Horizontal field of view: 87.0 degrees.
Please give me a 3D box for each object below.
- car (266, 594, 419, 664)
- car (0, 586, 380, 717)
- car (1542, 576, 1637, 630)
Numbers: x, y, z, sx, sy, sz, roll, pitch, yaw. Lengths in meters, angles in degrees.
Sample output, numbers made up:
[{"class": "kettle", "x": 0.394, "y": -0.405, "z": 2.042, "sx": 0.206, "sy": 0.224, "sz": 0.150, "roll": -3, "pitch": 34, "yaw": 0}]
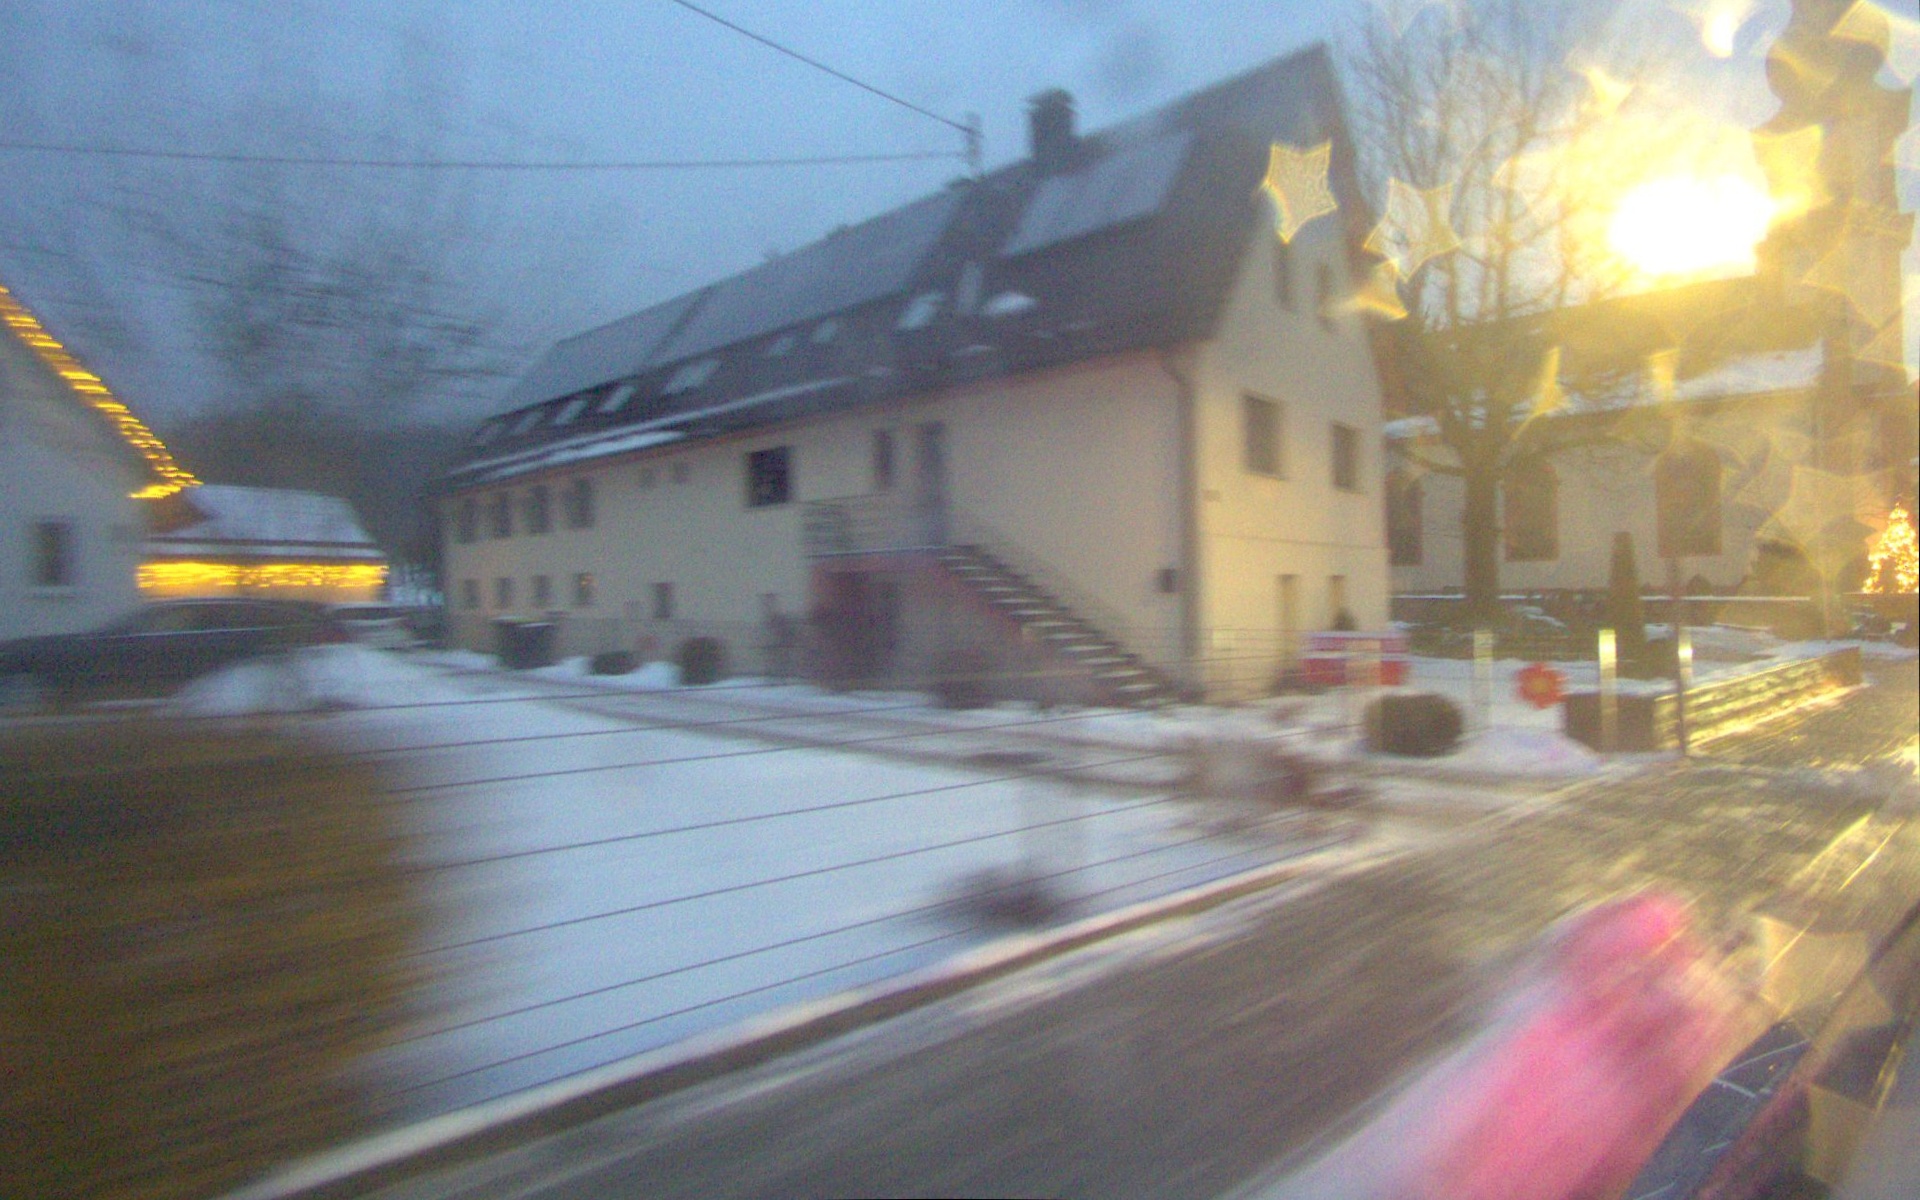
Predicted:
[{"class": "car", "x": -14.949, "y": 0.642, "z": 24.425, "sx": 4.074, "sy": 1.521, "sz": 2.022, "roll": 0, "pitch": 1, "yaw": 41}, {"class": "car", "x": -11.222, "y": 0.652, "z": 14.975, "sx": 4.434, "sy": 1.629, "sz": 2.331, "roll": -1, "pitch": 1, "yaw": -27}, {"class": "car", "x": 19.398, "y": 0.041, "z": 31.367, "sx": 1.735, "sy": 1.430, "sz": 4.055, "roll": 0, "pitch": 3, "yaw": 21}]
